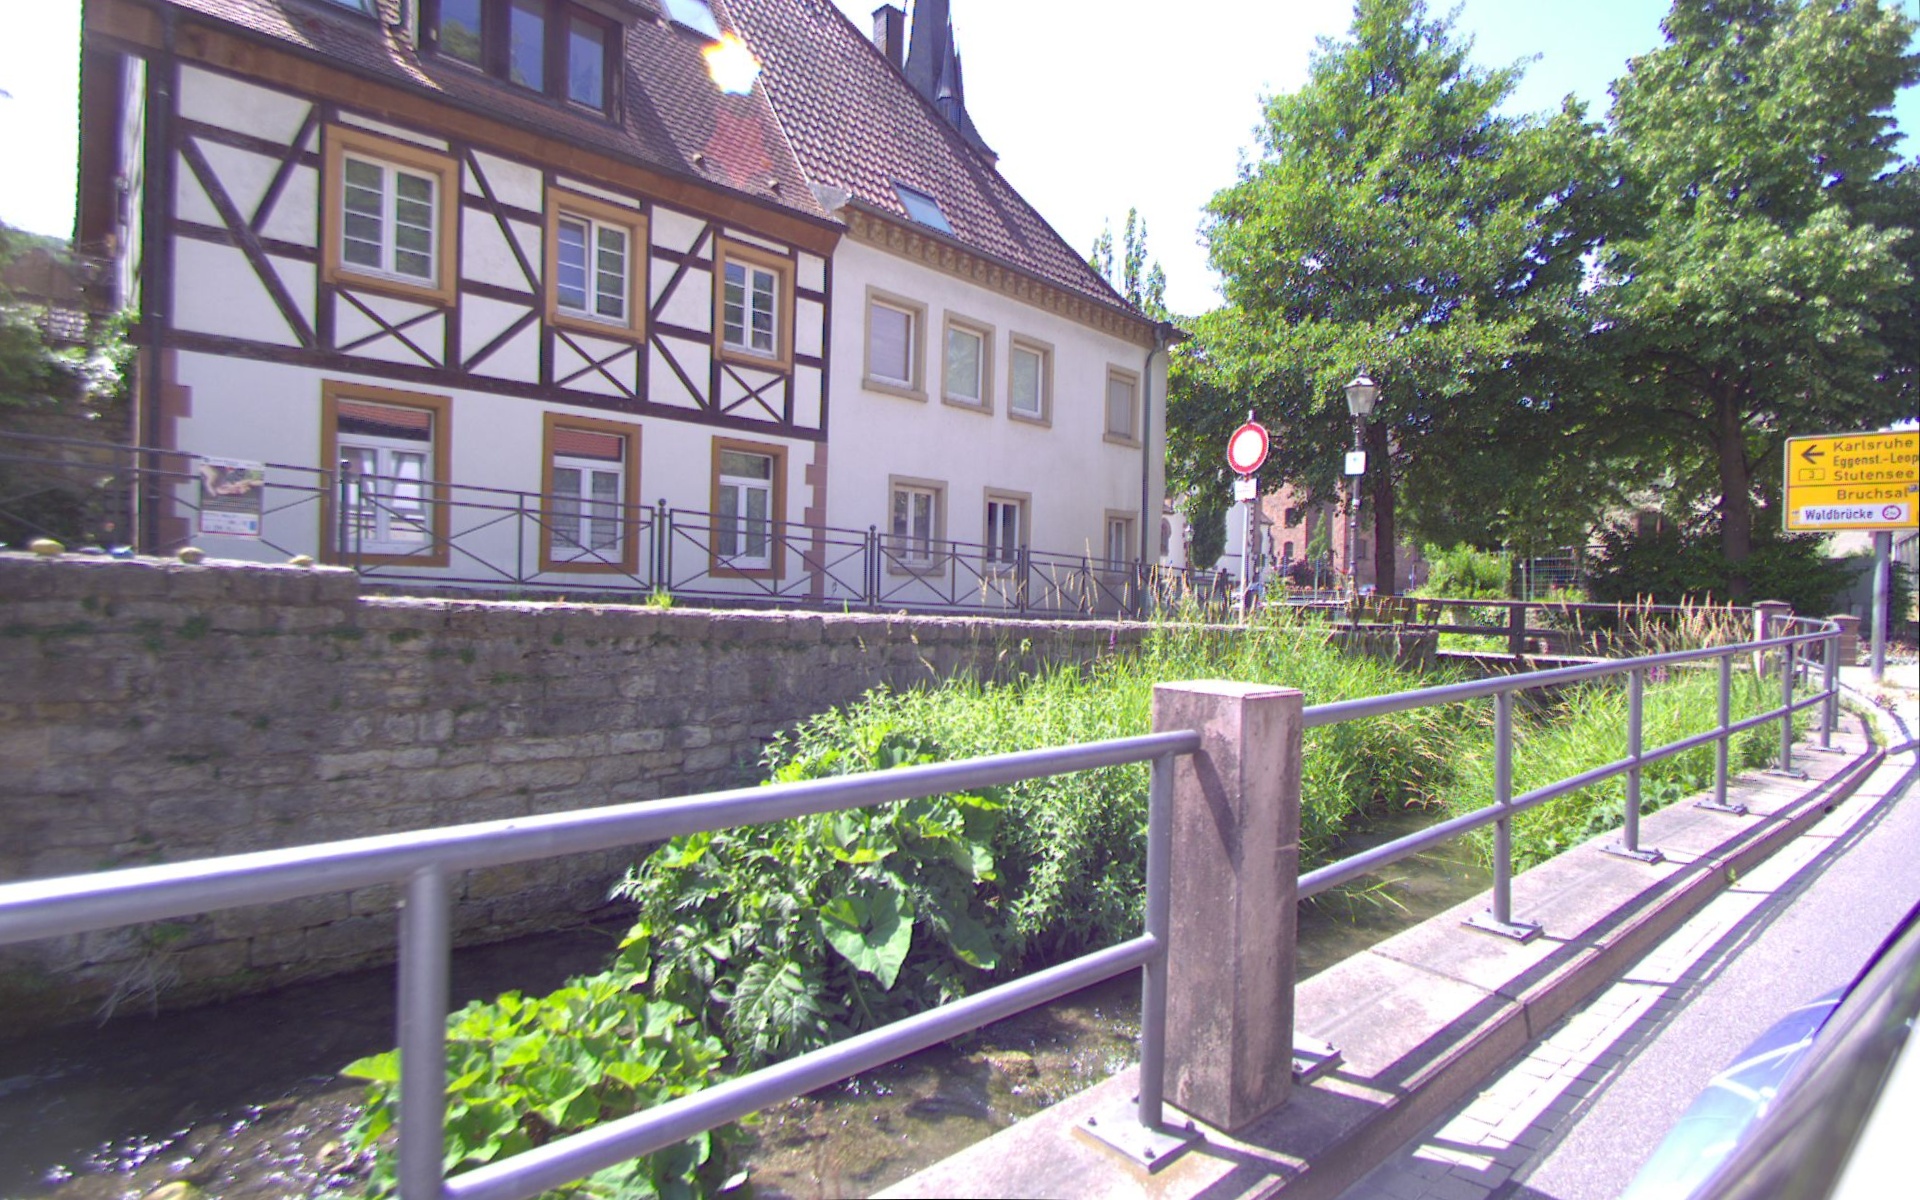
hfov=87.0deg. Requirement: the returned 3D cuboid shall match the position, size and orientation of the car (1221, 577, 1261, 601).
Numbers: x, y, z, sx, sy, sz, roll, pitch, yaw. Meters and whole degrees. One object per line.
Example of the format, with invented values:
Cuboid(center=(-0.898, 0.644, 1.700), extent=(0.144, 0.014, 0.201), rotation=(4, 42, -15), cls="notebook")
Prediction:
Cuboid(center=(18.788, -0.761, 67.535), extent=(1.657, 1.523, 3.769), rotation=(1, 1, 31), cls="car")
